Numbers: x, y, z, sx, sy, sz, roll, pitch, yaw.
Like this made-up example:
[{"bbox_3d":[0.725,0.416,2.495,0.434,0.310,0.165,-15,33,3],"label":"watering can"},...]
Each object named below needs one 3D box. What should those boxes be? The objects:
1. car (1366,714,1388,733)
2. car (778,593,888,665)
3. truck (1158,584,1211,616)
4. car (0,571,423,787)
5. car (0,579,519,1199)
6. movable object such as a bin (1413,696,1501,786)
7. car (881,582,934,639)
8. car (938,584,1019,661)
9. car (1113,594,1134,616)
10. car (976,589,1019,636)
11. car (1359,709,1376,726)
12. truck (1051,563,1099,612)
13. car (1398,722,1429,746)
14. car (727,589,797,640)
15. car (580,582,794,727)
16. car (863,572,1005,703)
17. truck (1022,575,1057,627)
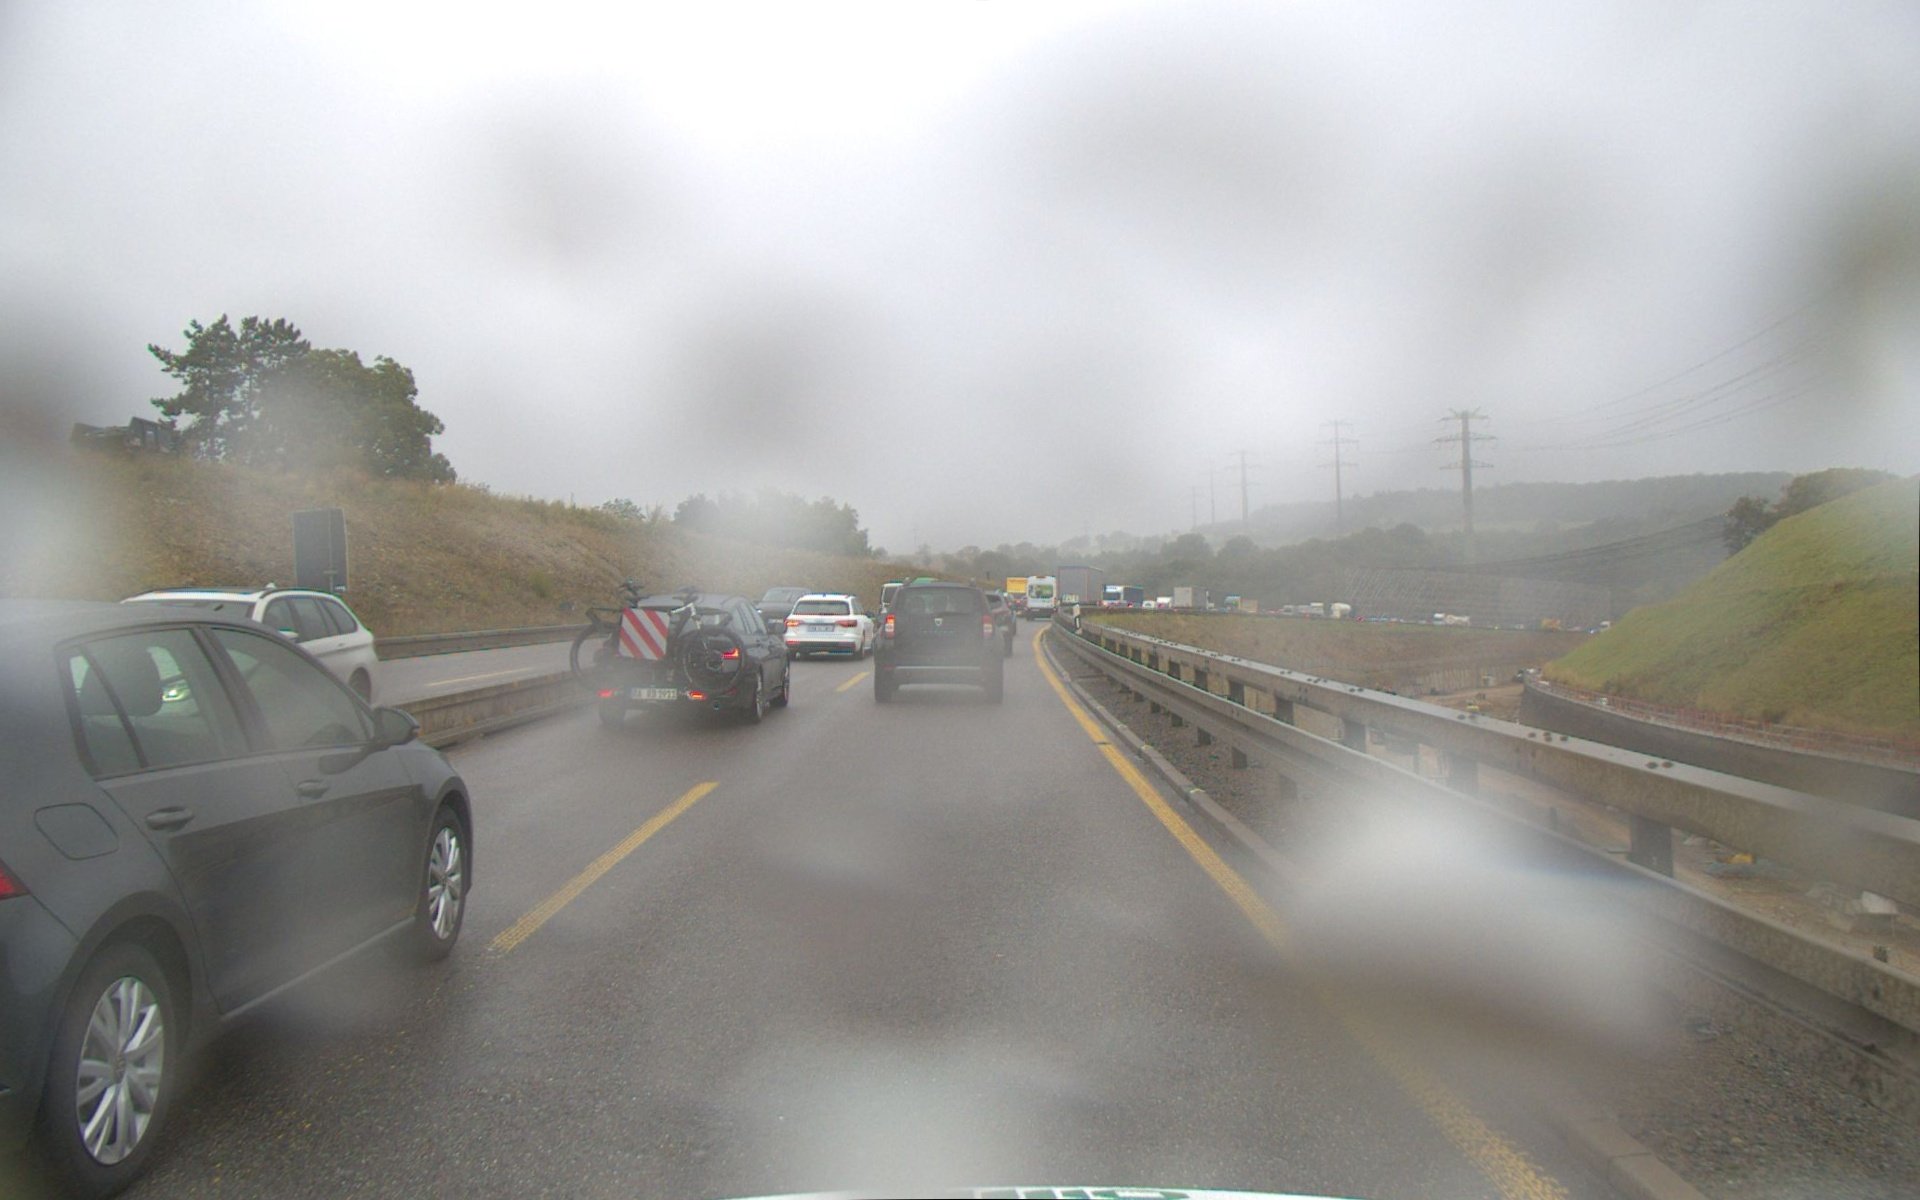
[{"bbox_3d":[47.058,13.953,186.752,1.951,1.847,4.003,1,0,7],"label":"car"},{"bbox_3d":[-2.814,0.606,37.593,1.828,1.486,4.551,2,0,4],"label":"car"},{"bbox_3d":[31.556,0.068,231.659,4.619,4.222,15.689,2,0,18],"label":"truck"},{"bbox_3d":[-6.788,0.612,15.270,2.003,1.661,4.989,0,0,0],"label":"car"},{"bbox_3d":[-2.748,0.735,5.134,1.581,1.532,4.368,-1,0,0],"label":"car"},{"bbox_3d":[24.727,6.969,82.524,3.147,3.934,4.124,3,1,2],"label":"movable object such as a bin"},{"bbox_3d":[-1.846,0.348,59.095,1.626,1.912,4.020,2,0,1],"label":"car"},{"bbox_3d":[0.489,0.514,40.482,1.829,1.738,4.001,1,0,2],"label":"car"},{"bbox_3d":[15.175,0.457,153.617,1.737,1.949,4.003,2,0,8],"label":"car"},{"bbox_3d":[1.418,0.438,61.472,1.498,1.669,4.014,2,0,2],"label":"car"},{"bbox_3d":[58.697,16.933,238.200,1.952,2.049,4.002,2,0,18],"label":"car"},{"bbox_3d":[9.429,-0.984,134.824,3.132,3.827,8.516,2,0,8],"label":"truck"},{"bbox_3d":[46.213,13.691,168.742,2.315,2.049,4.002,2,0,5],"label":"car"},{"bbox_3d":[-6.614,0.464,55.615,1.774,1.621,4.901,-1,0,0],"label":"car"},{"bbox_3d":[-3.050,0.574,19.200,1.791,1.502,3.777,0,0,1],"label":"car"},{"bbox_3d":[-0.281,0.485,23.261,1.767,1.674,3.777,0,0,2],"label":"car"},{"bbox_3d":[5.142,0.045,107.231,2.104,3.221,6.462,1,0,3],"label":"truck"}]
